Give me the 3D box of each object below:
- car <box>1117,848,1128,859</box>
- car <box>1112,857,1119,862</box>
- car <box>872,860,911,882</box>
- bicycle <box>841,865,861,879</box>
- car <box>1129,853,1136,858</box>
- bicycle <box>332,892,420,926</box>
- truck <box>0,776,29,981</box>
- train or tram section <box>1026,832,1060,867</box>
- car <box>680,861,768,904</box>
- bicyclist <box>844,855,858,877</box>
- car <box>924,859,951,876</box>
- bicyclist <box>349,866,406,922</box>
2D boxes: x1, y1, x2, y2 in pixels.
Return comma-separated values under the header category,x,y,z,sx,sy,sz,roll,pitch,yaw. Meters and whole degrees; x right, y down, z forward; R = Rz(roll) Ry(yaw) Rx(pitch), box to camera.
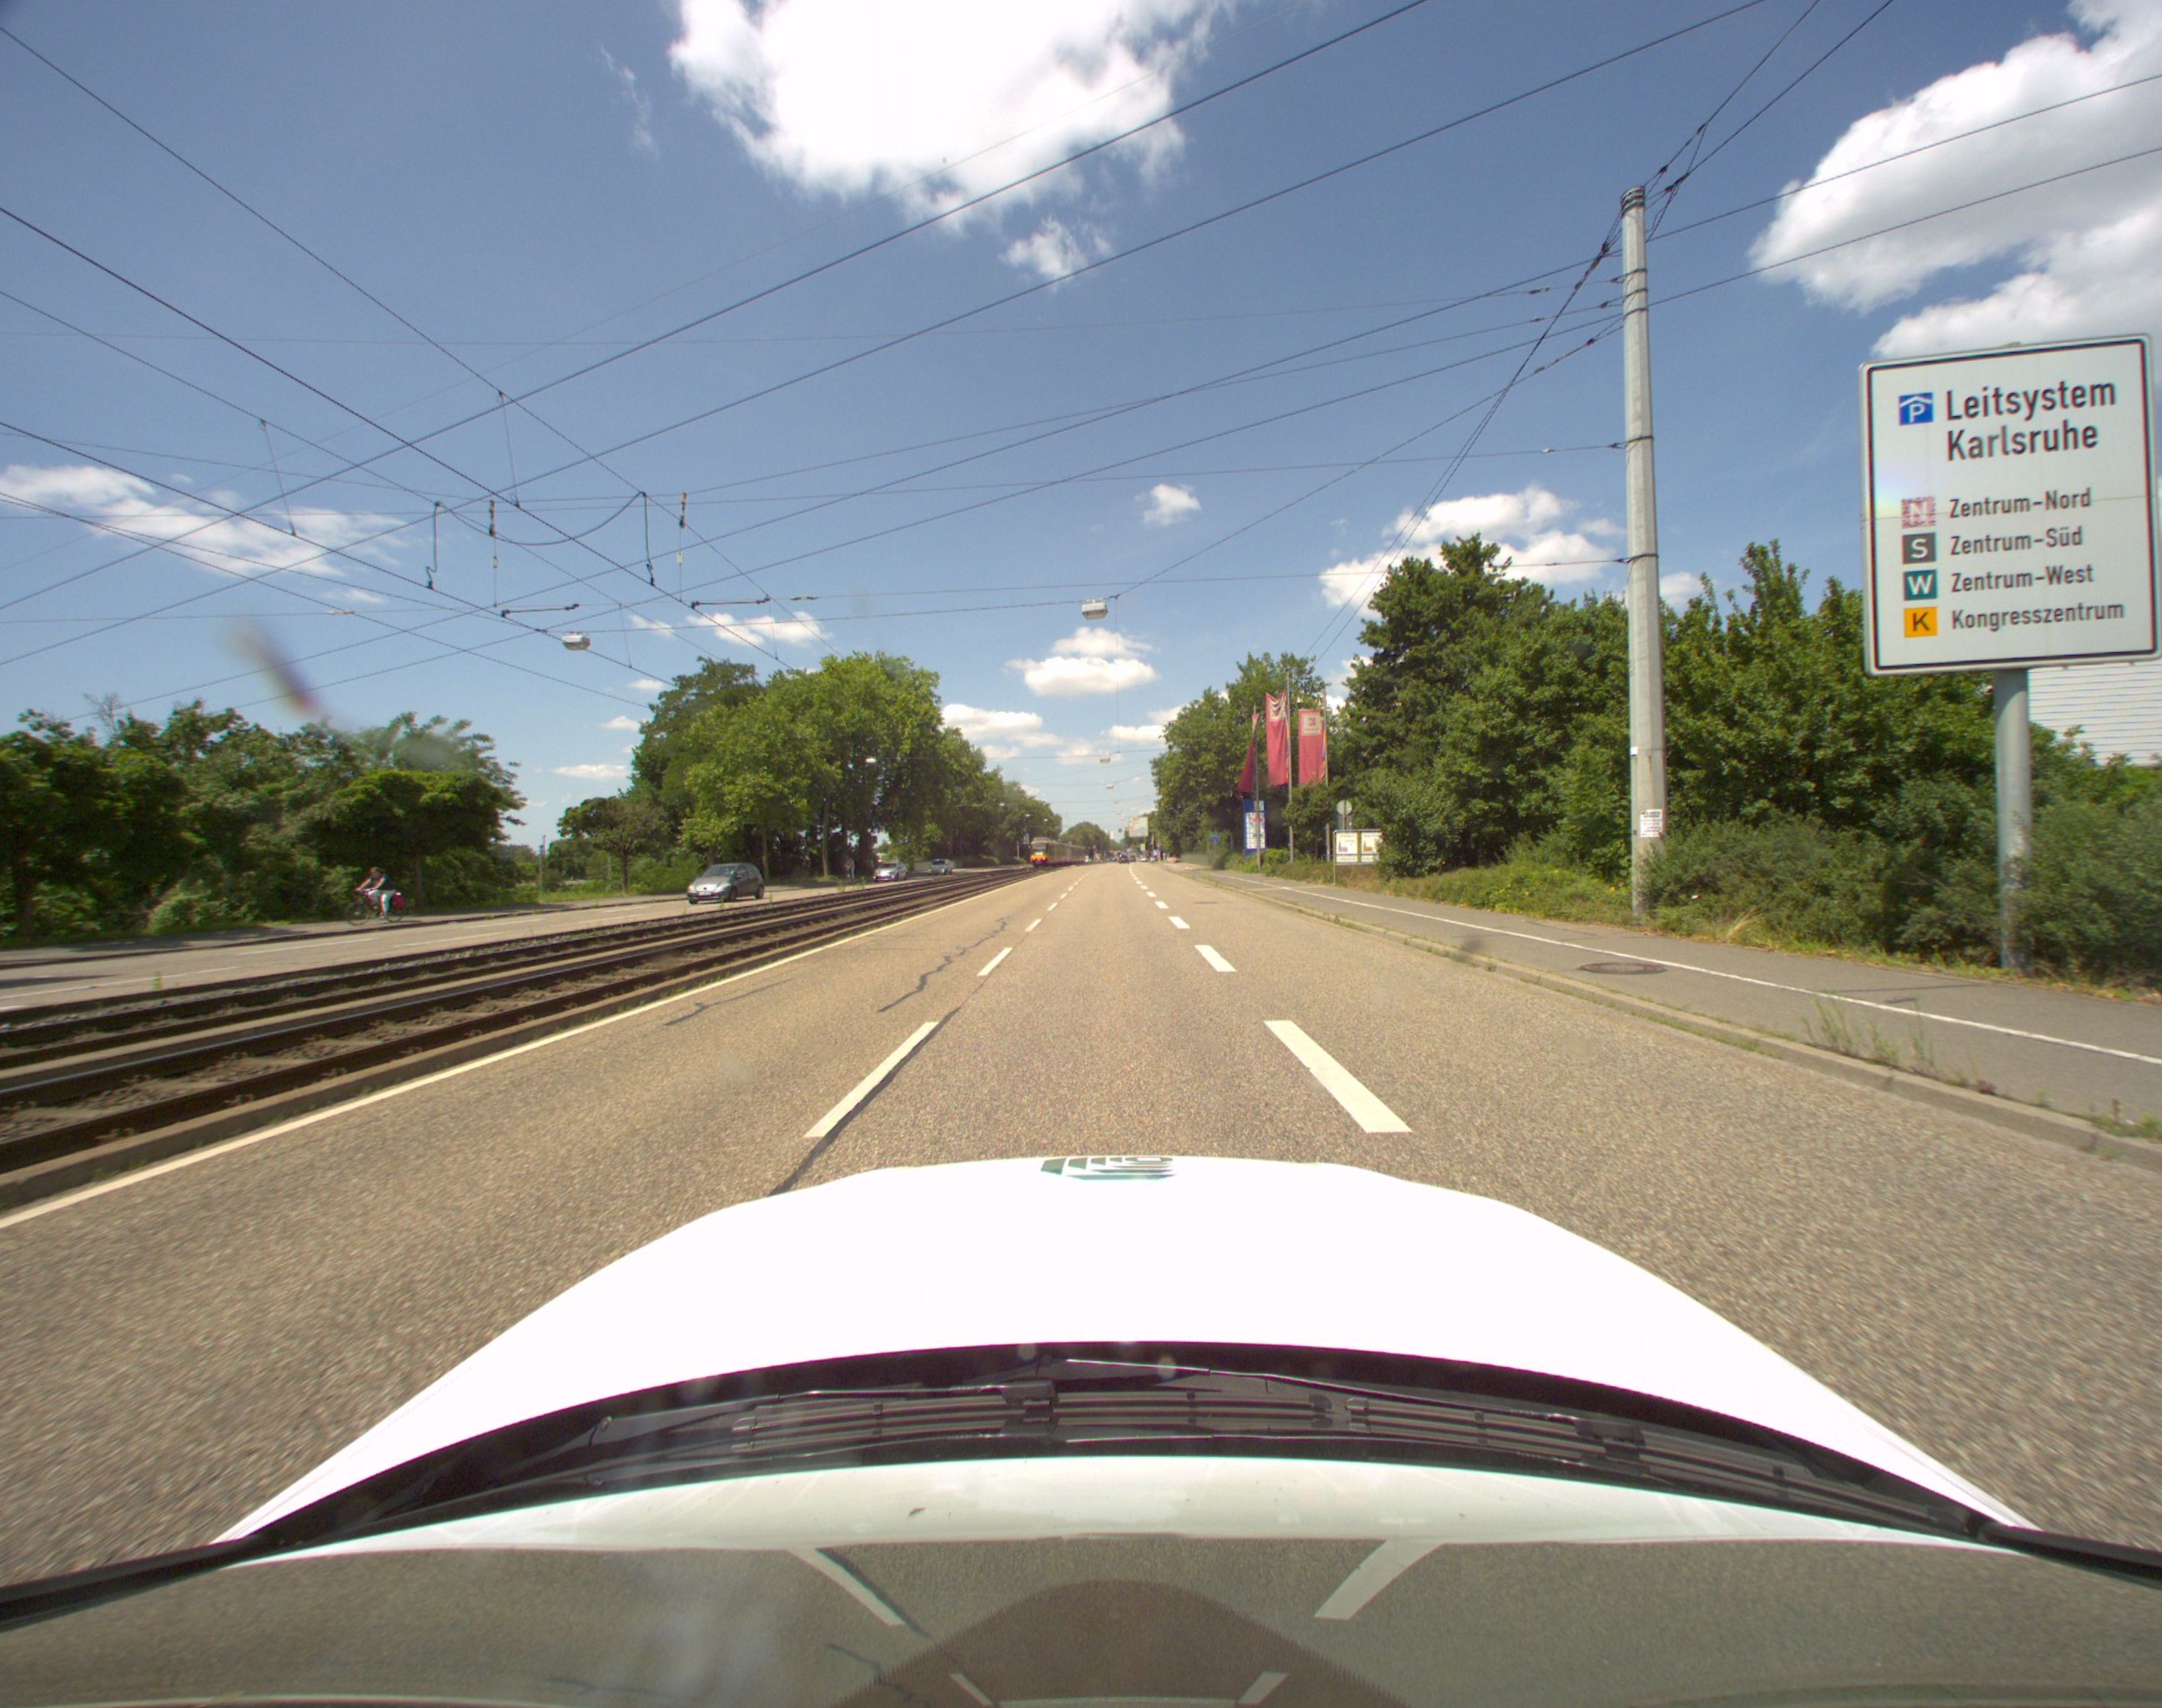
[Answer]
category,x,y,z,sx,sy,sz,roll,pitch,yaw
car,7.338,-0.083,144.583,1.892,1.805,3.978,0,0,2
car,10.465,1.569,247.219,1.835,1.550,3.778,1,0,2
car,-13.678,1.171,58.952,1.630,1.421,4.130,-3,0,3
bicycle,-16.951,1.318,60.115,0.619,0.979,2.059,1,0,8
car,15.238,0.533,242.584,1.869,1.539,3.778,0,0,2
bicycle,-21.248,1.635,24.600,0.647,0.859,2.124,0,0,6
truck,-18.348,0.424,10.192,2.240,3.236,6.047,-2,0,3
train or tram section,-4.997,-0.604,110.480,3.035,4.267,15.435,-2,0,3
car,-14.645,1.118,33.652,1.746,1.535,3.958,-3,0,1
bicyclist,-16.935,0.901,60.055,0.619,1.617,1.064,1,0,8
car,-13.115,1.235,74.736,1.631,1.436,3.722,-3,0,1
bicyclist,-21.246,1.178,24.609,0.647,1.620,1.157,0,0,5
